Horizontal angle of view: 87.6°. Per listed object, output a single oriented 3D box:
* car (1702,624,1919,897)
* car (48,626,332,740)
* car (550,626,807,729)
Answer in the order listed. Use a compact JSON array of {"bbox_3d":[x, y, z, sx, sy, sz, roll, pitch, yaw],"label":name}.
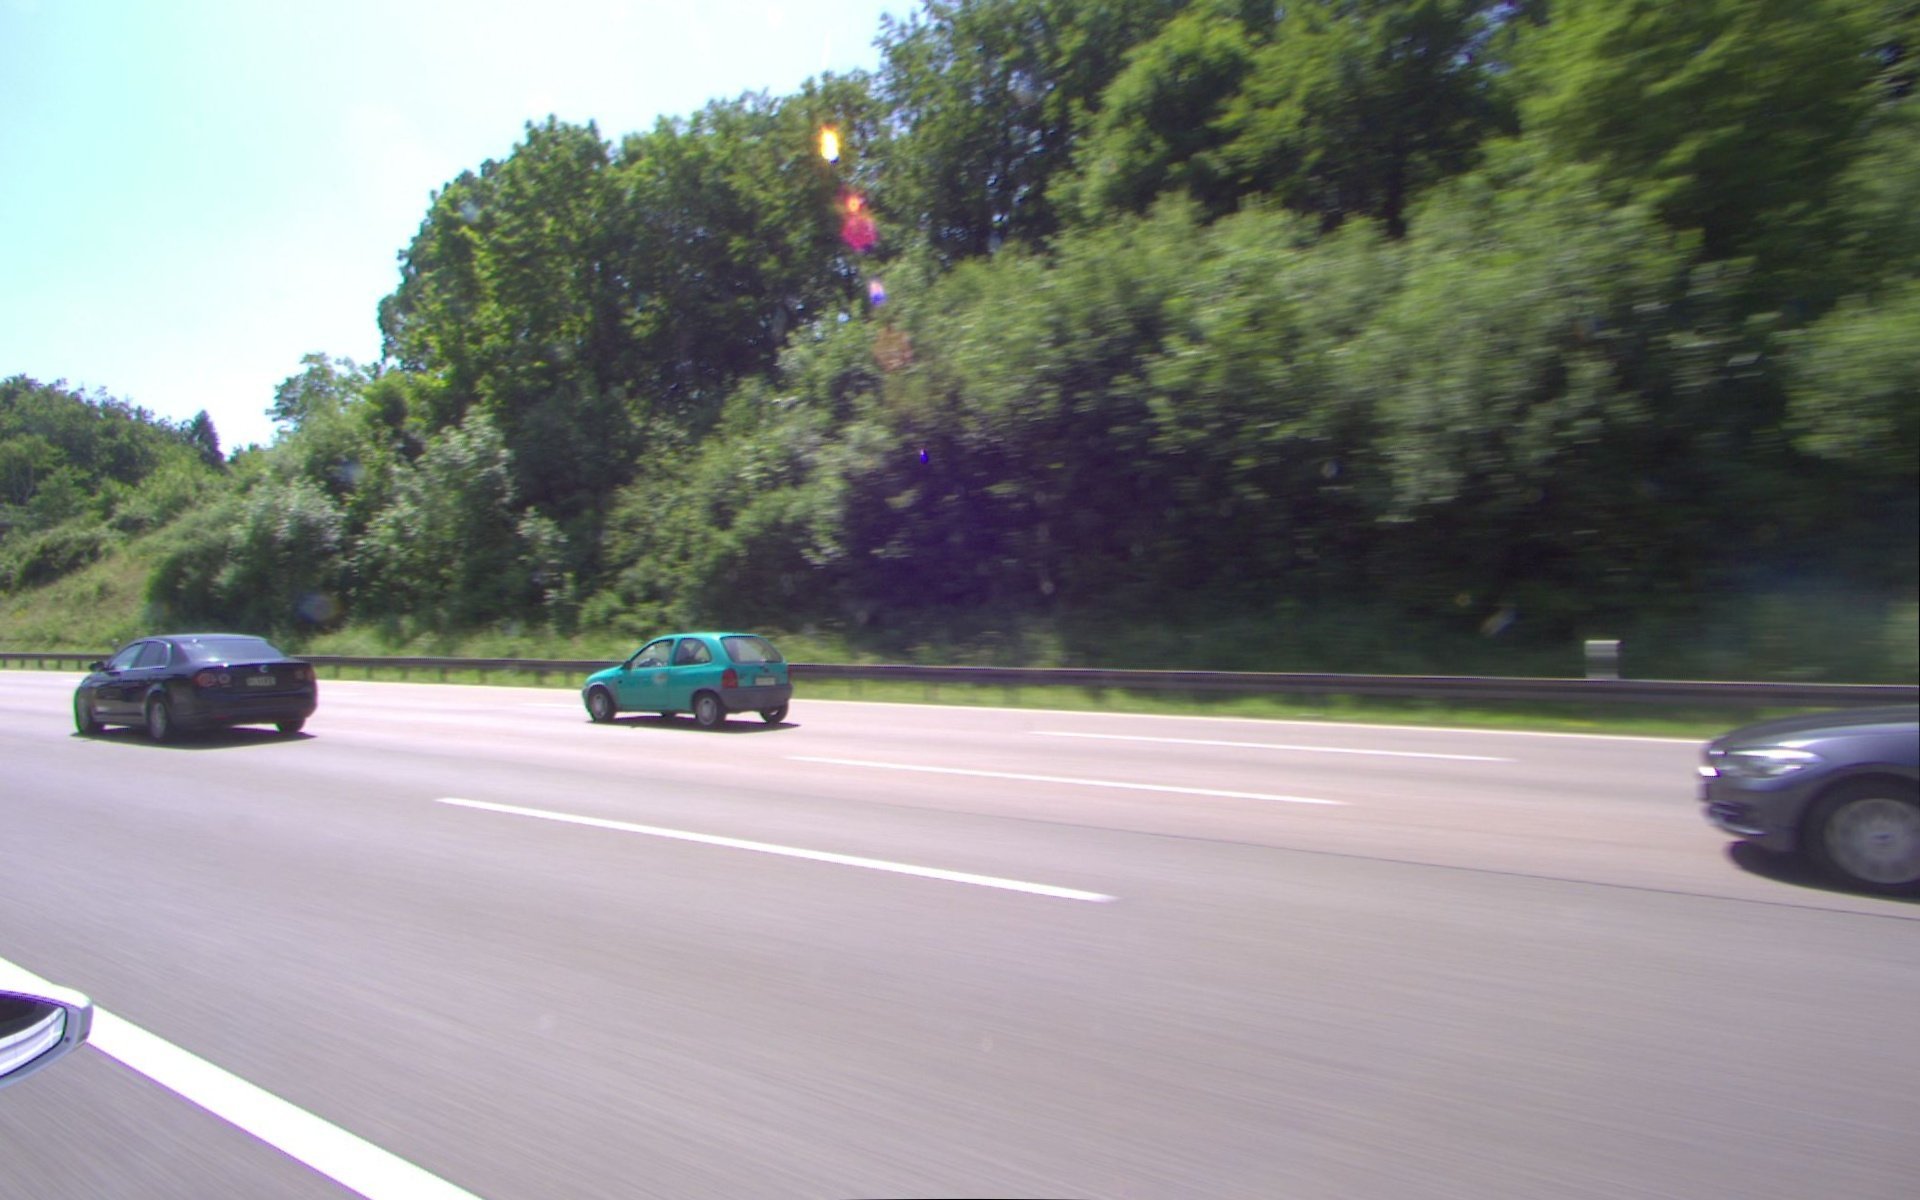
[{"bbox_3d":[6.440,0.828,5.187,4.098,1.414,1.698,-1,-2,35],"label":"car"},{"bbox_3d":[-11.277,1.093,14.569,4.831,1.426,1.663,-1,-1,31],"label":"car"},{"bbox_3d":[-4.586,1.158,16.102,4.279,1.462,1.542,-1,-1,33],"label":"car"}]
